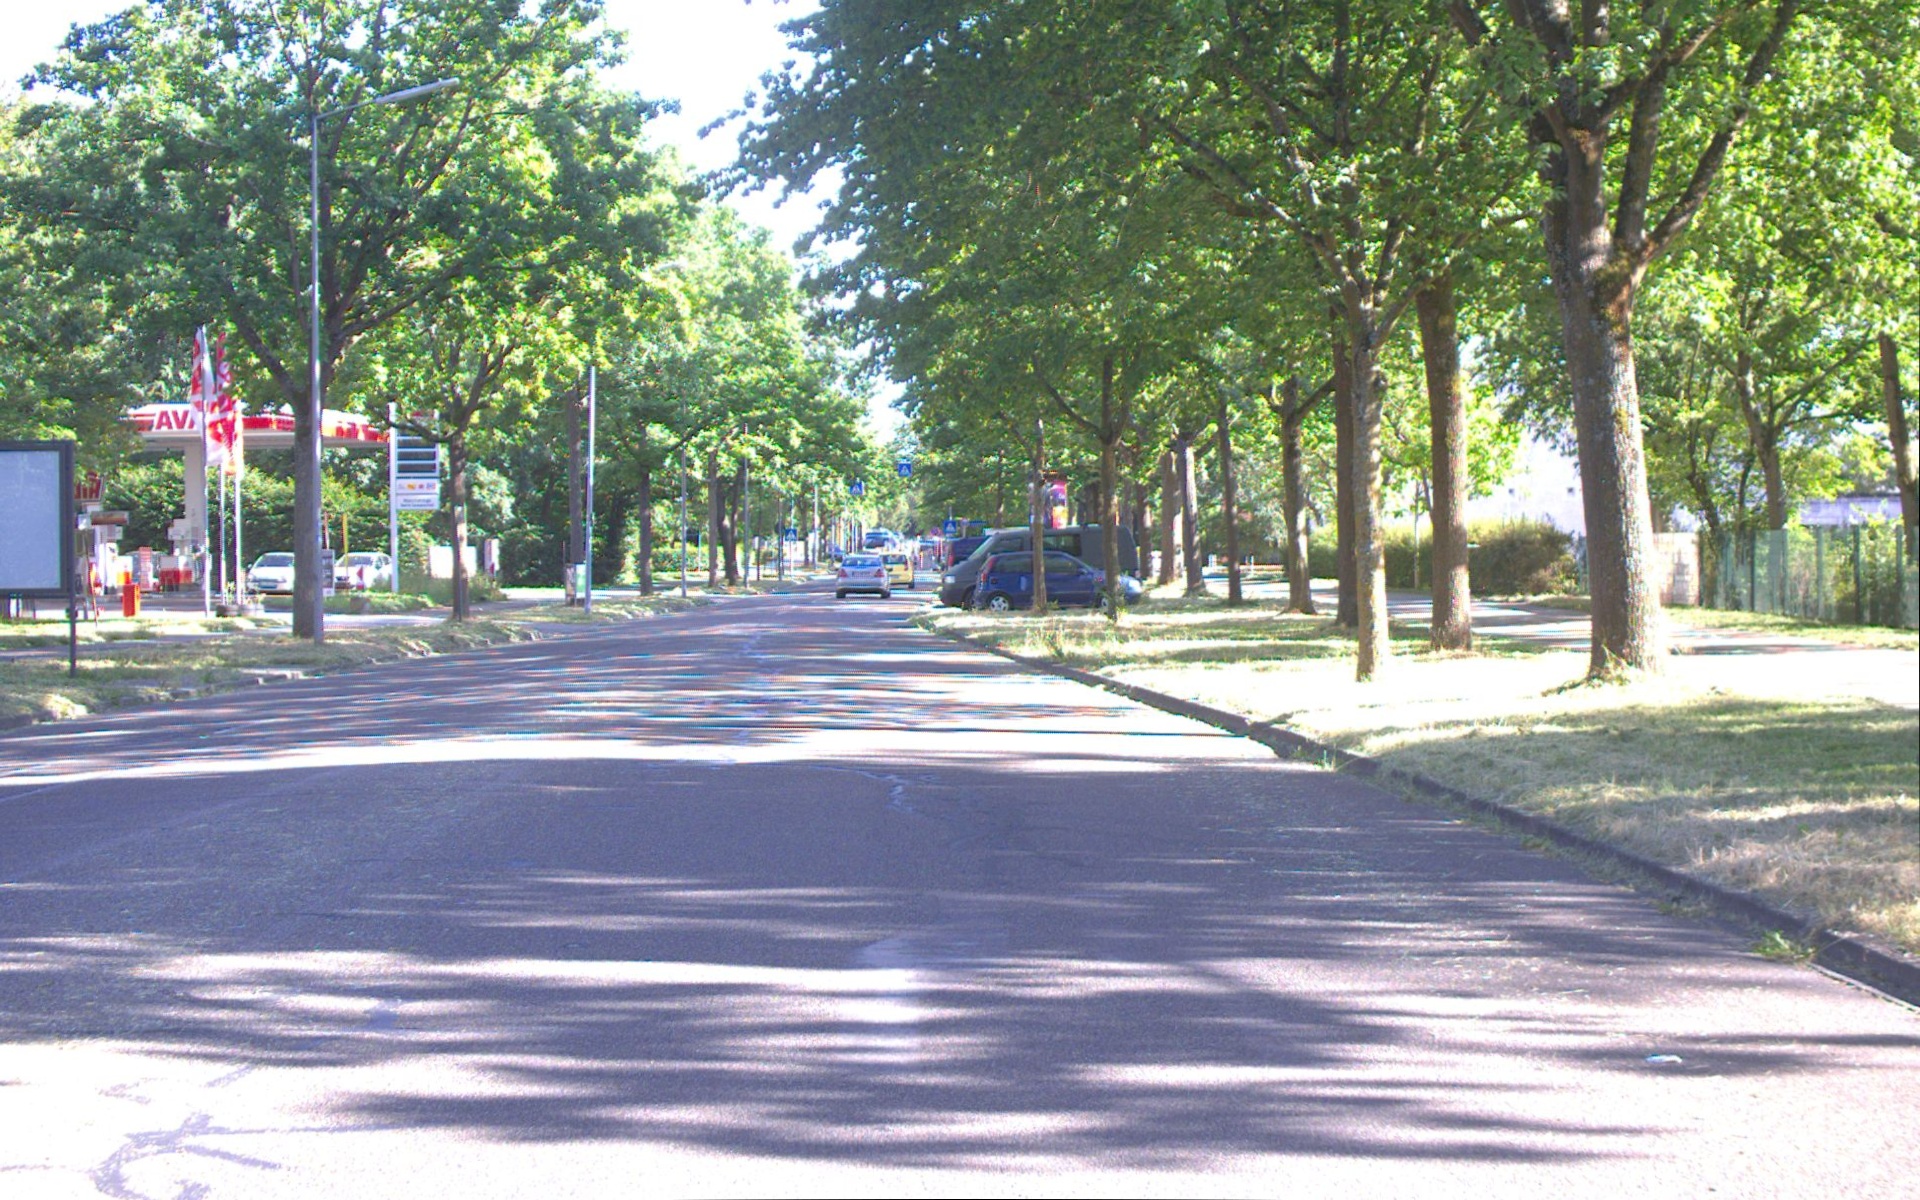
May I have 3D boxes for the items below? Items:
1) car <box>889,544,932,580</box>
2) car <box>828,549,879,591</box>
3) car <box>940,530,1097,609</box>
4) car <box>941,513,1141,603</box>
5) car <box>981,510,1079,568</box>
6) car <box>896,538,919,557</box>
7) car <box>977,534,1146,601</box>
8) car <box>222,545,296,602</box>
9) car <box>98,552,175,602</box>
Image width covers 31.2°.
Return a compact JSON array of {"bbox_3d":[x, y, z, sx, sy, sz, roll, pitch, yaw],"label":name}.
[{"bbox_3d":[-1.997,-1.518,137.705,1.661,1.332,3.665,-1,0,-2],"label":"car"},{"bbox_3d":[-3.530,-0.979,114.023,1.661,1.332,3.665,-1,0,-2],"label":"car"},{"bbox_3d":[1.378,-0.717,81.585,3.653,1.791,1.317,-1,0,-1],"label":"car"},{"bbox_3d":[1.834,-0.955,79.101,4.502,1.946,1.687,-1,0,-1],"label":"car"},{"bbox_3d":[2.587,-2.263,127.698,3.567,2.044,1.633,-1,-1,-1],"label":"car"},{"bbox_3d":[-3.973,-3.914,258.008,1.661,1.332,3.665,-1,0,-2],"label":"car"},{"bbox_3d":[2.230,-0.722,76.126,3.653,1.393,1.317,-1,0,-1],"label":"car"},{"bbox_3d":[-23.219,-0.857,113.953,1.801,1.817,3.805,-1,0,-3],"label":"car"},{"bbox_3d":[-27.888,-0.752,116.474,1.801,1.615,3.805,-1,0,-2],"label":"car"}]
